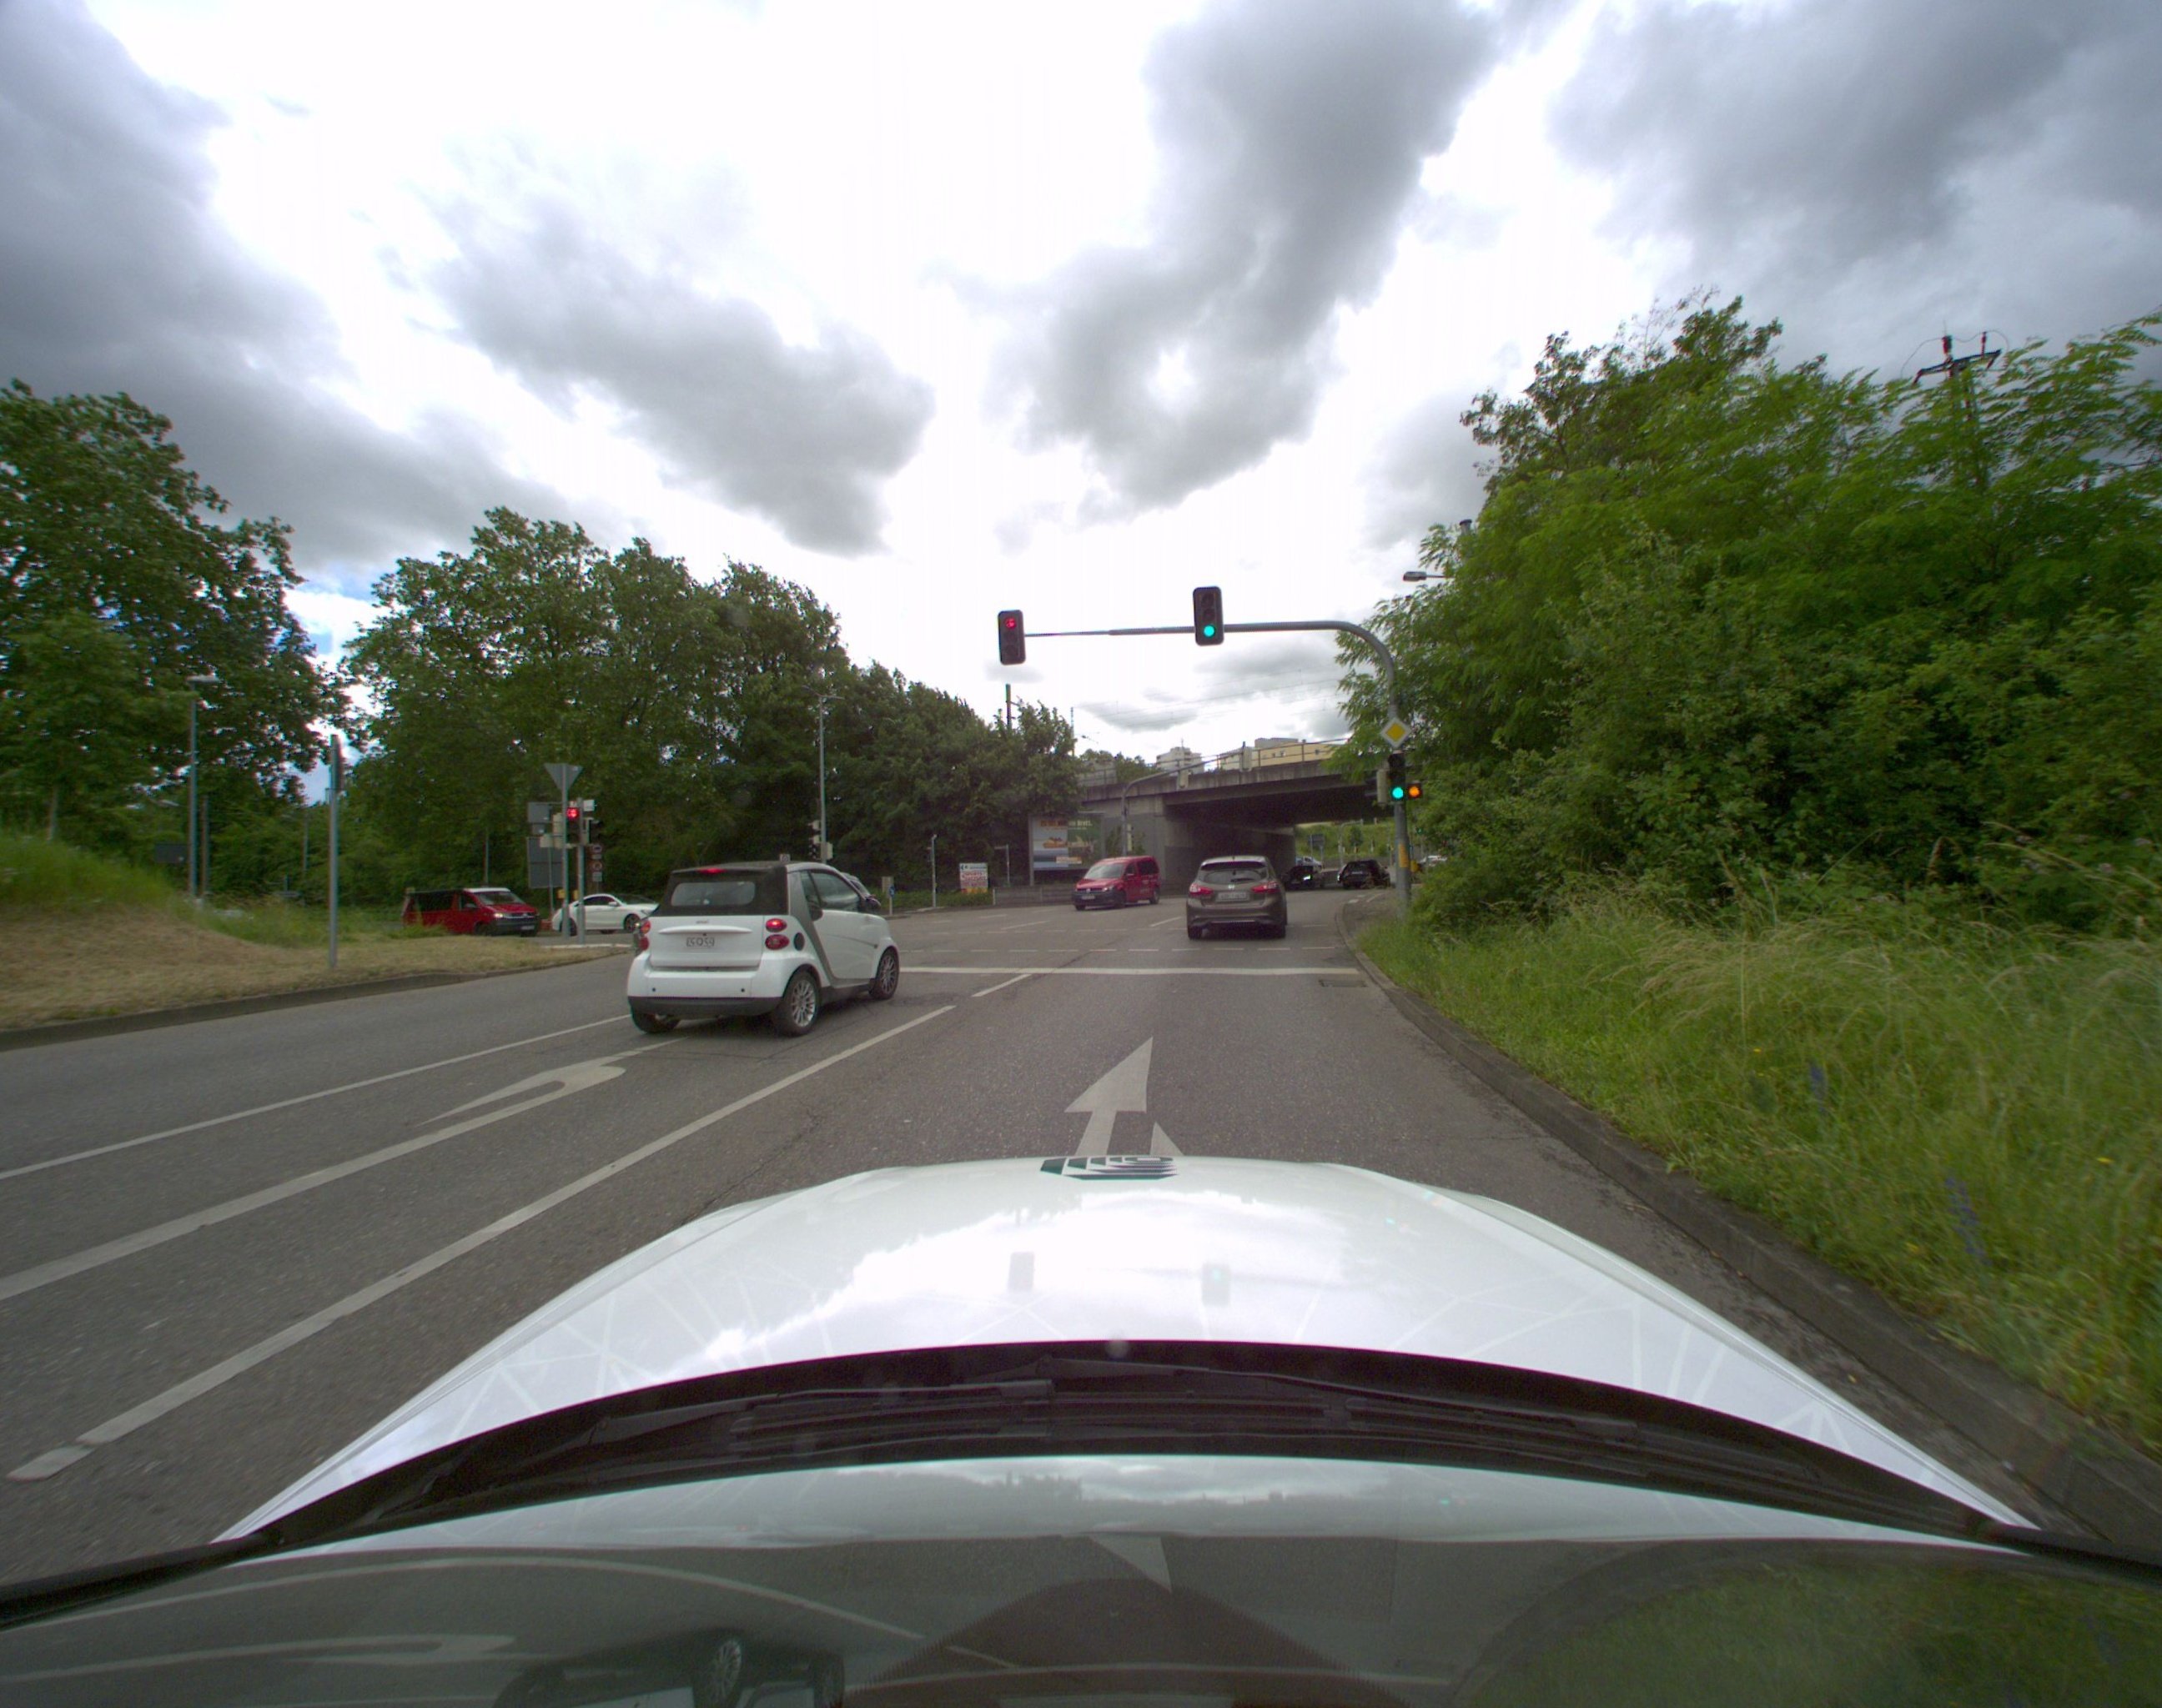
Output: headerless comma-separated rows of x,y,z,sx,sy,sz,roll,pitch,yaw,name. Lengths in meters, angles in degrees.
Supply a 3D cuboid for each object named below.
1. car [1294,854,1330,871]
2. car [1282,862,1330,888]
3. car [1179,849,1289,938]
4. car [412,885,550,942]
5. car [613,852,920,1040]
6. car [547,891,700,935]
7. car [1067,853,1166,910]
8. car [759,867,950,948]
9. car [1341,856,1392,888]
29.379,1.052,103.652,3.949,1.948,2.012,-3,-2,29,car
13.895,1.258,50.140,1.799,1.477,4.162,-2,-2,30,car
3.130,0.748,16.153,1.831,1.493,4.014,-2,-2,14,car
-21.801,2.161,29.628,3.996,1.813,1.862,-3,-2,14,car
-2.980,0.766,8.382,1.565,1.557,3.025,0,0,11,car
-15.743,2.031,28.102,4.373,1.339,2.007,-3,-3,14,car
1.381,0.930,29.444,1.672,1.825,4.754,-3,-1,27,car
-4.524,1.026,17.063,1.751,1.420,4.440,-2,-1,16,car
14.510,0.922,41.309,1.882,1.466,4.023,1,-1,27,car
